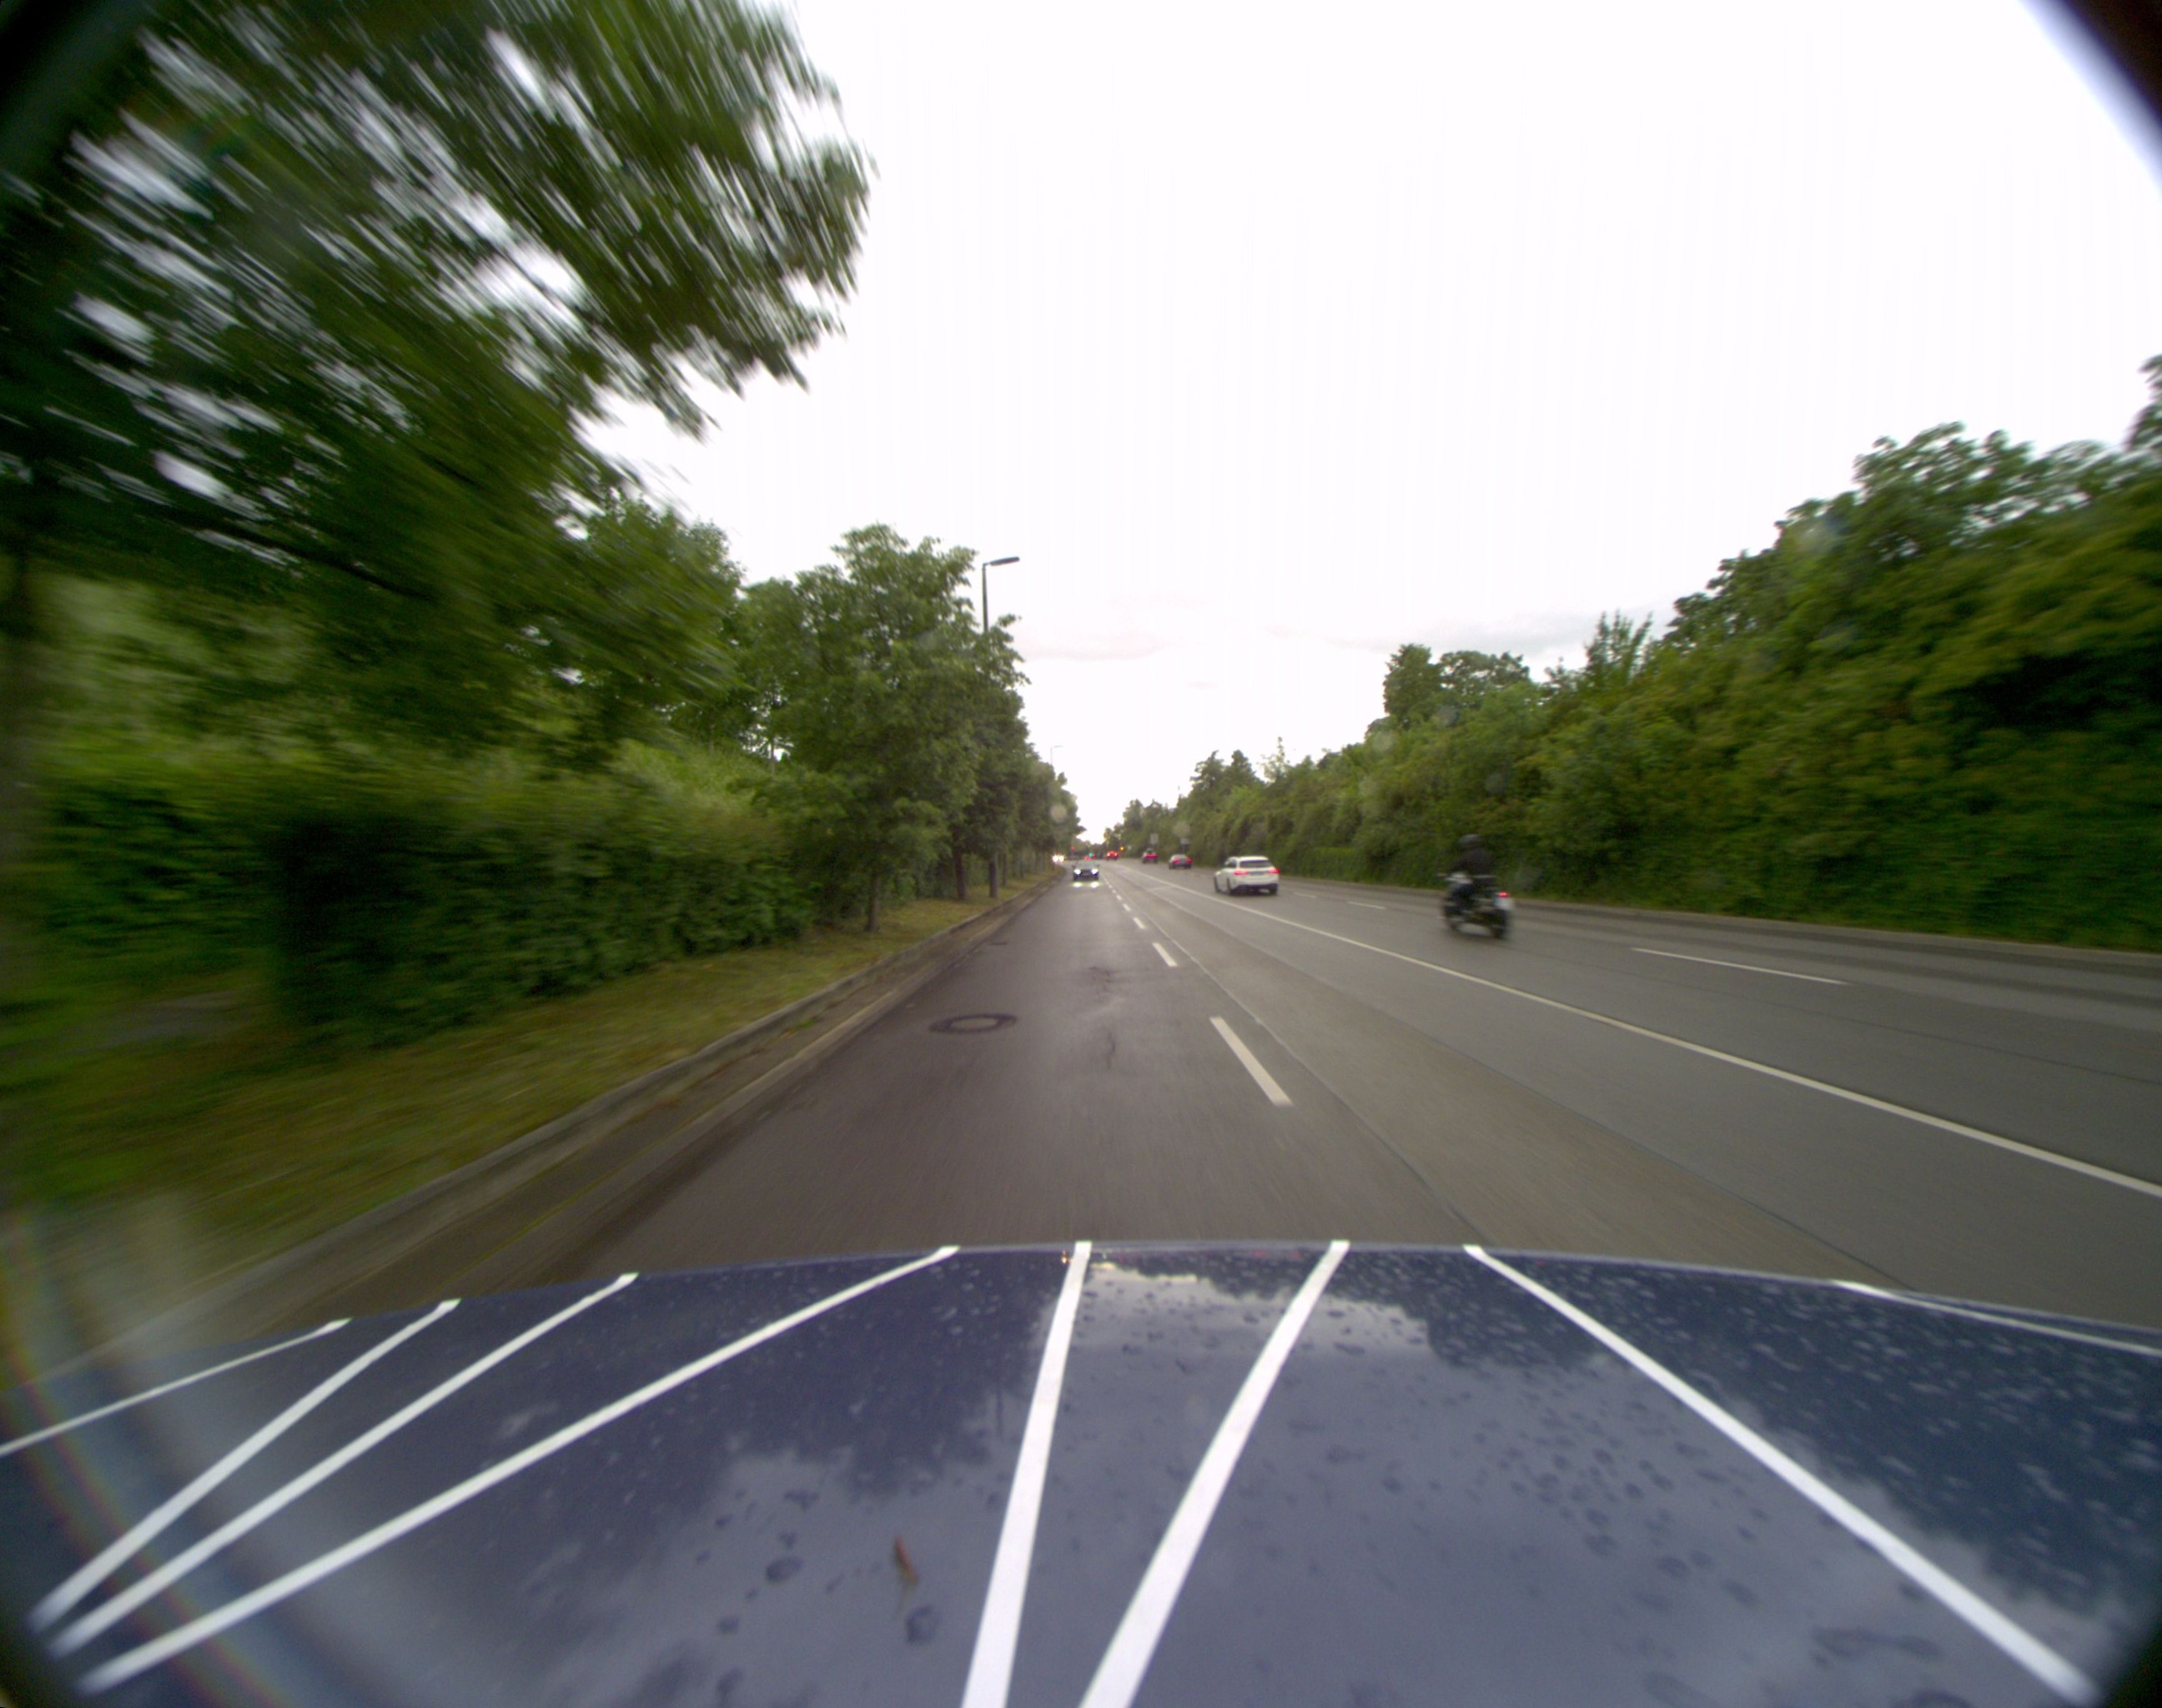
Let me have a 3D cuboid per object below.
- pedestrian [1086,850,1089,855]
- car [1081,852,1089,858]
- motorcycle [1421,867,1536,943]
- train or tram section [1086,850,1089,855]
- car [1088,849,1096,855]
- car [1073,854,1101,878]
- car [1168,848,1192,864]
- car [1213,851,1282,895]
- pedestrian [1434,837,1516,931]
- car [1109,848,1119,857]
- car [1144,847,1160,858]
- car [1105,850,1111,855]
[{"bbox_3d":[1.928,-0.474,224.302,0.793,1.376,0.974,-3,1,-4],"label":"pedestrian"},{"bbox_3d":[1.062,0.185,203.128,1.782,1.459,3.996,-2,0,-2],"label":"car"},{"bbox_3d":[6.785,0.831,13.121,0.807,1.124,2.231,-2,0,1],"label":"motorcycle"},{"bbox_3d":[1.924,-0.474,224.308,0.793,1.561,2.382,-3,1,-4],"label":"train or tram section"},{"bbox_3d":[3.481,-0.593,235.041,1.806,1.597,4.424,-3,1,-8],"label":"car"},{"bbox_3d":[0.394,0.828,54.844,1.738,1.577,4.284,-2,0,-2],"label":"car"},{"bbox_3d":[9.926,0.210,76.121,1.764,1.373,4.838,-3,0,1],"label":"car"},{"bbox_3d":[6.468,0.694,29.935,1.719,1.496,4.516,-3,0,1],"label":"car"},{"bbox_3d":[6.771,0.495,13.101,0.807,1.532,1.111,-2,1,1],"label":"pedestrian"},{"bbox_3d":[6.477,-0.277,149.720,1.817,1.648,4.594,-2,1,0],"label":"car"},{"bbox_3d":[10.115,-0.227,108.123,1.903,1.544,4.630,-3,1,1],"label":"car"},{"bbox_3d":[7.109,-0.416,199.198,1.552,1.429,3.695,-2,1,0],"label":"car"}]
